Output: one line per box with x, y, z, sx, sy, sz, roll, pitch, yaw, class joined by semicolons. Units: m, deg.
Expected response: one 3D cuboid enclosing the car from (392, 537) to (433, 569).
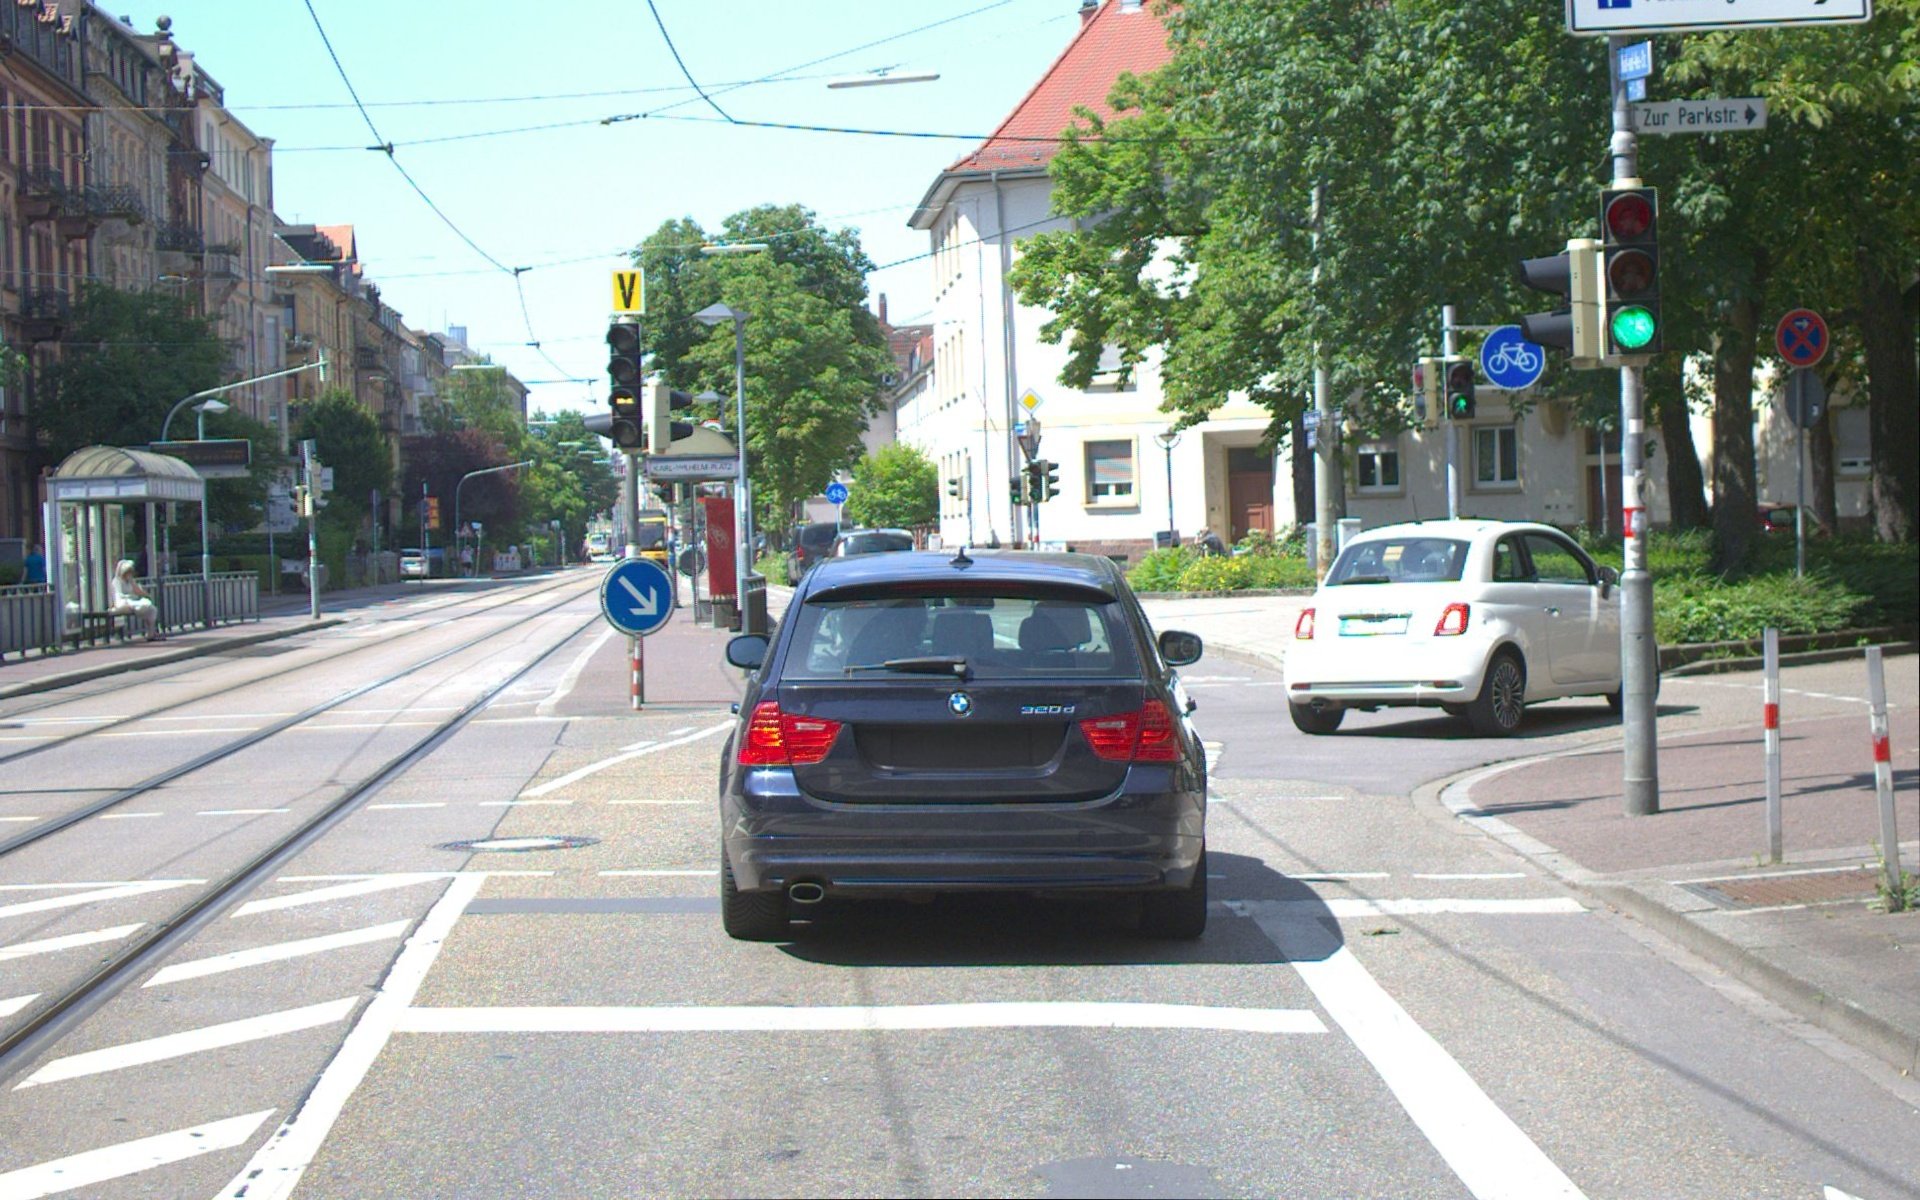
-28.000;-2.394;175.744;1.787;1.580;4.001;-1;1;-13;car

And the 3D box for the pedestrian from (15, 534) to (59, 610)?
-22.533;-0.681;83.905;0.640;1.805;0.739;-1;1;29;pedestrian

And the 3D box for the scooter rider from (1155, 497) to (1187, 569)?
4.992;-1.575;81.353;0.590;1.681;0.528;-2;1;-9;scooter rider

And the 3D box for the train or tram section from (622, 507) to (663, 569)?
-18.506;-3.655;200.659;2.190;3.470;8.847;-2;1;-4;train or tram section

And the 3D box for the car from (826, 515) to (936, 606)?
-1.425;-0.711;60.693;1.691;1.508;3.822;-2;1;-5;car

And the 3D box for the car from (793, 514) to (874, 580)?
-3.785;-1.582;102.316;1.993;1.842;4.001;-2;1;-8;car

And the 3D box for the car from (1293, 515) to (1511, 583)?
8.891;-1.020;69.237;3.994;1.239;1.621;-1;1;31;car

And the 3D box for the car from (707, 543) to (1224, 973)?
-0.017;0.492;13.805;1.722;1.404;4.565;0;1;-1;car

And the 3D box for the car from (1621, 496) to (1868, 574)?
14.534;-1.194;63.881;1.787;1.324;4.338;-3;2;-36;car

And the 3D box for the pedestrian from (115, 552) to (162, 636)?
-12.389;-0.089;51.870;0.613;1.238;0.628;-2;1;-10;pedestrian

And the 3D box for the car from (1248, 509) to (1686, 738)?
3.775;0.129;25.135;1.688;1.479;3.677;-1;2;34;car

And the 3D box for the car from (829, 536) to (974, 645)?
-0.806;-0.159;45.078;1.691;1.318;3.822;-2;1;-3;car
